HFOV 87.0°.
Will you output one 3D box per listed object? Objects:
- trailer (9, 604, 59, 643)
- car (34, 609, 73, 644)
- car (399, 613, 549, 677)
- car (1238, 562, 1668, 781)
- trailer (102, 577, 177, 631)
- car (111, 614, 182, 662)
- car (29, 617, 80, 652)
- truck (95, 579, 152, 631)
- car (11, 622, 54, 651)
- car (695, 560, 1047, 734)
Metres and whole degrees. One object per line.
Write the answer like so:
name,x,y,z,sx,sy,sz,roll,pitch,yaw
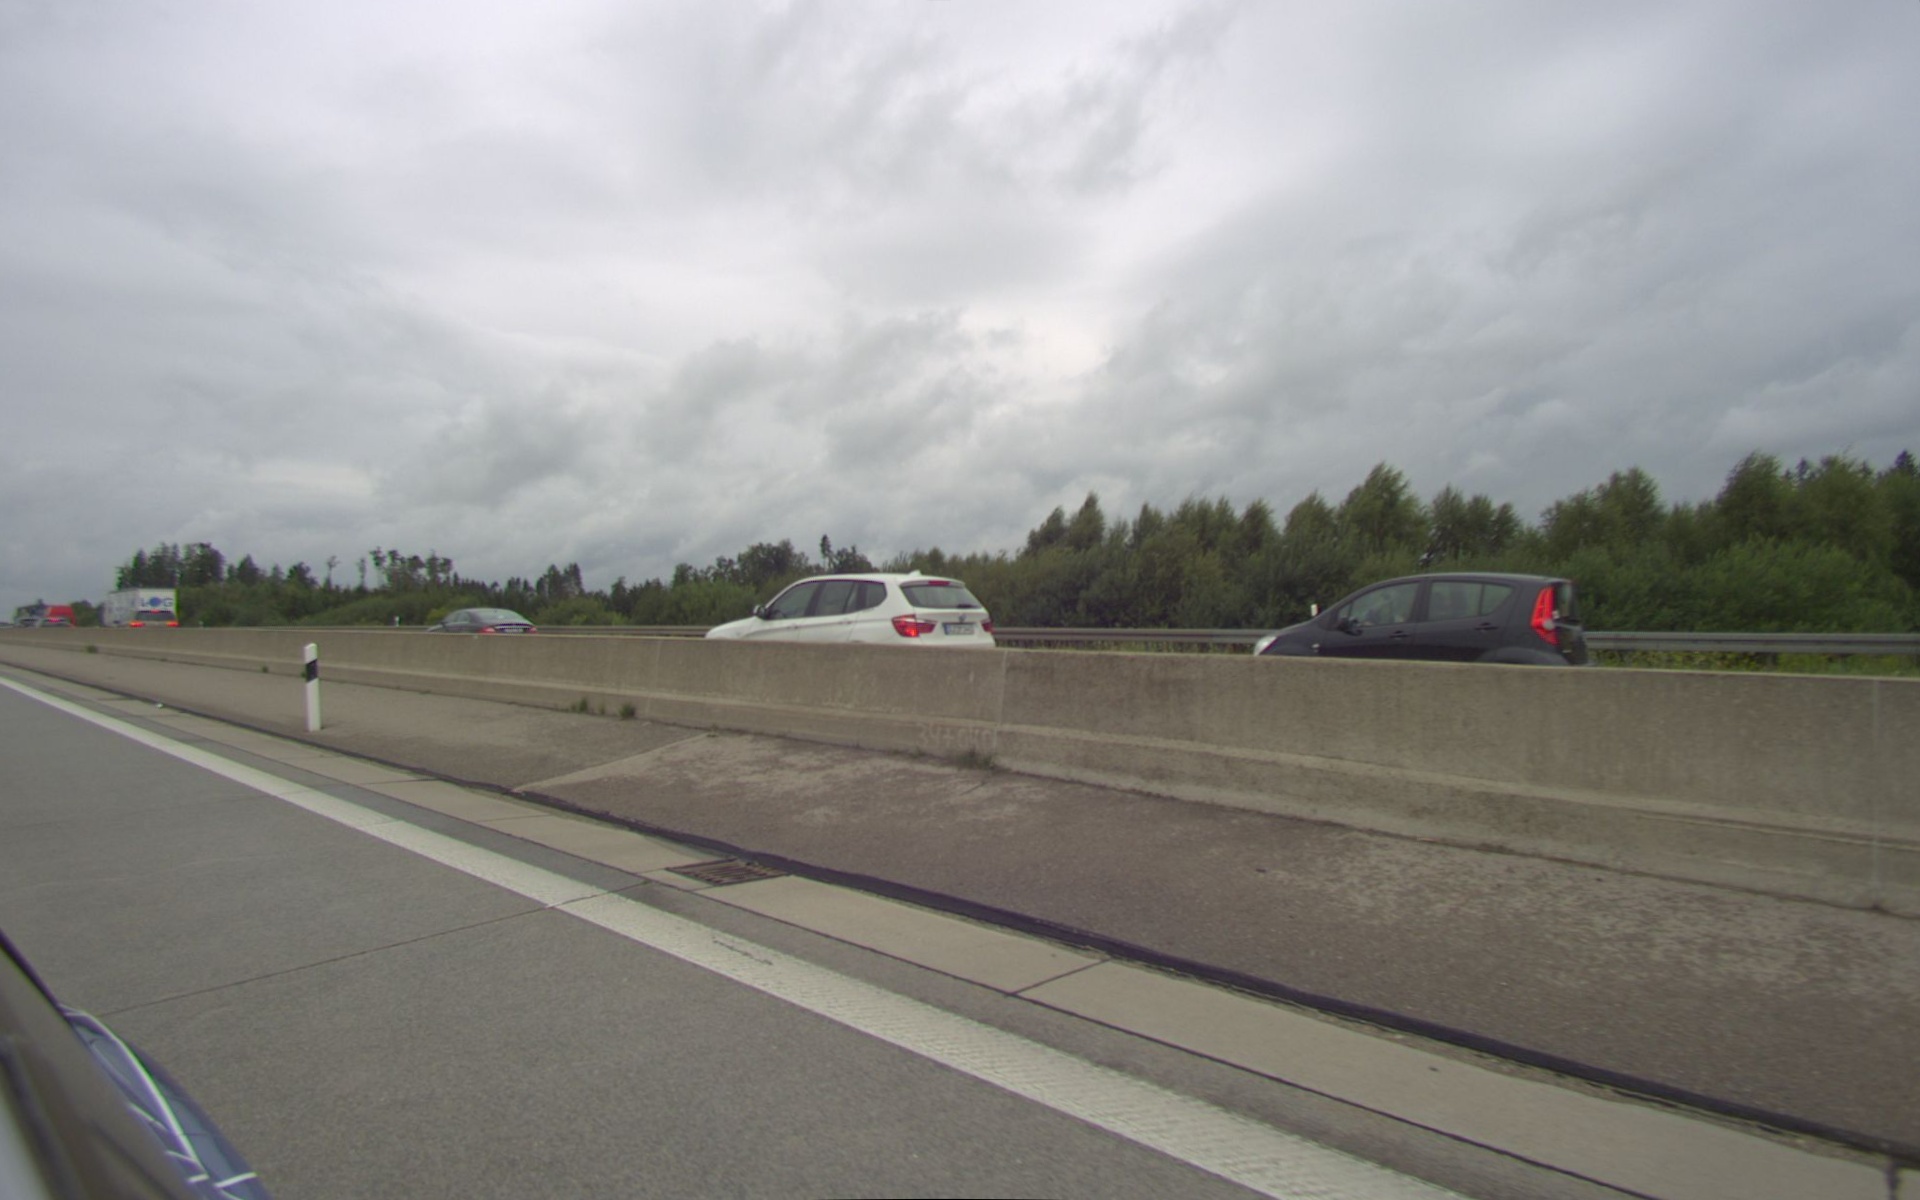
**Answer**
trailer,-122.476,3.195,133.727,12.903,4.836,3.560,-3,-2,42
car,-78.599,2.298,87.718,5.574,2.981,1.783,-2,-2,40
car,-14.099,1.258,29.214,5.265,1.679,2.013,-2,-2,41
car,5.357,0.737,11.321,3.998,2.029,1.628,-3,-2,41
trailer,-69.118,0.436,85.095,13.009,4.033,2.857,-3,-2,42
car,-36.621,1.718,45.512,4.834,2.029,1.670,-3,-2,41
car,-54.807,2.043,61.249,4.834,2.029,1.670,-1,-2,41
truck,-73.826,0.543,89.272,7.133,4.324,2.853,-3,-2,42
car,-68.032,2.716,74.233,4.723,2.029,1.782,-3,-2,41
car,-1.304,0.573,13.269,4.602,1.882,2.013,-2,-2,42
